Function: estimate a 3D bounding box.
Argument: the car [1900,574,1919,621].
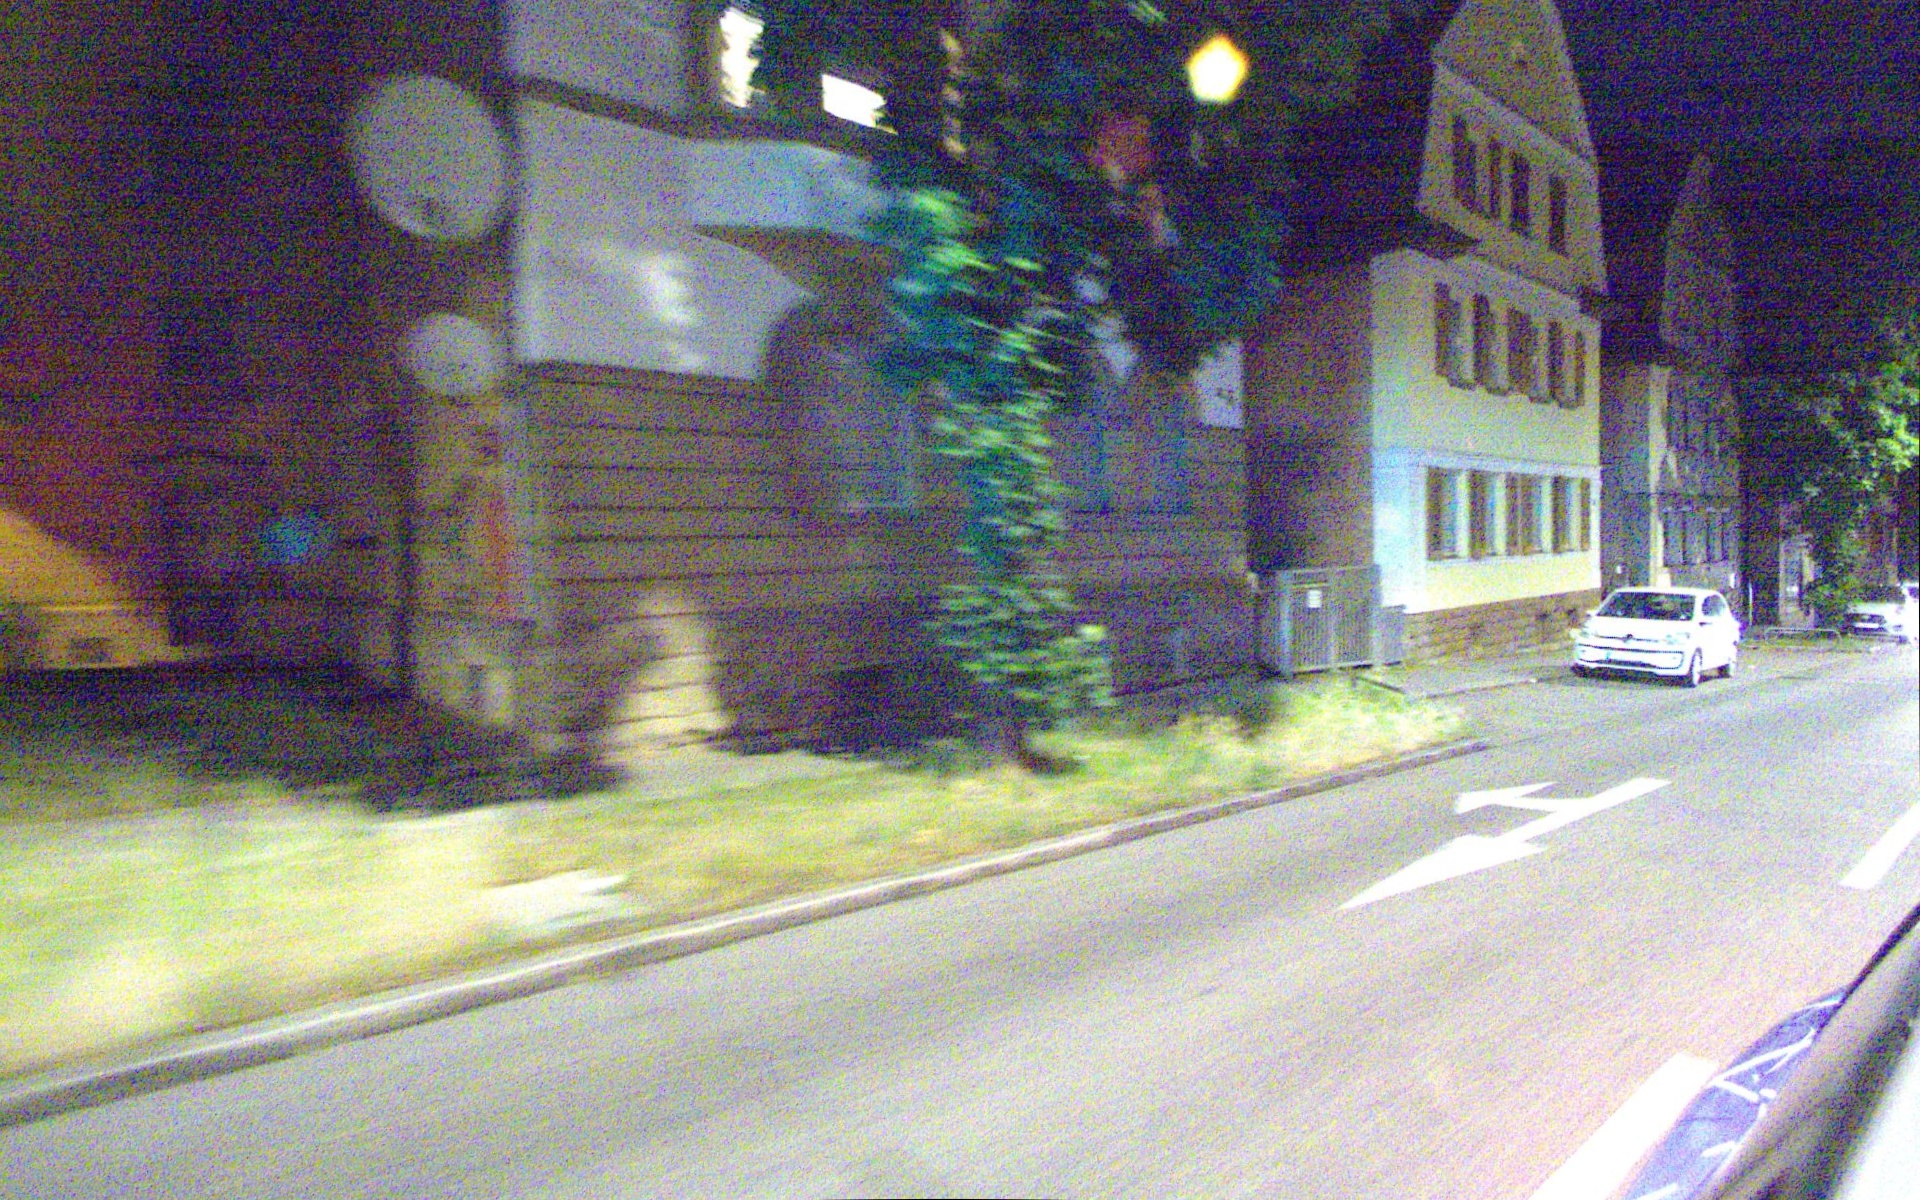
[{"bbox_3d":[35.804,-0.123,36.889,4.107,1.673,1.850,-1,1,-41],"label":"car"}]

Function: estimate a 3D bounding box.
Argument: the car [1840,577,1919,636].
[{"bbox_3d":[25.851,0.132,28.067,3.824,1.516,1.740,-1,2,-42],"label":"car"}]

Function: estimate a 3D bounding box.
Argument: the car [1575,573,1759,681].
[{"bbox_3d":[11.484,0.358,16.381,3.425,1.527,1.610,-1,2,-41],"label":"car"}]
